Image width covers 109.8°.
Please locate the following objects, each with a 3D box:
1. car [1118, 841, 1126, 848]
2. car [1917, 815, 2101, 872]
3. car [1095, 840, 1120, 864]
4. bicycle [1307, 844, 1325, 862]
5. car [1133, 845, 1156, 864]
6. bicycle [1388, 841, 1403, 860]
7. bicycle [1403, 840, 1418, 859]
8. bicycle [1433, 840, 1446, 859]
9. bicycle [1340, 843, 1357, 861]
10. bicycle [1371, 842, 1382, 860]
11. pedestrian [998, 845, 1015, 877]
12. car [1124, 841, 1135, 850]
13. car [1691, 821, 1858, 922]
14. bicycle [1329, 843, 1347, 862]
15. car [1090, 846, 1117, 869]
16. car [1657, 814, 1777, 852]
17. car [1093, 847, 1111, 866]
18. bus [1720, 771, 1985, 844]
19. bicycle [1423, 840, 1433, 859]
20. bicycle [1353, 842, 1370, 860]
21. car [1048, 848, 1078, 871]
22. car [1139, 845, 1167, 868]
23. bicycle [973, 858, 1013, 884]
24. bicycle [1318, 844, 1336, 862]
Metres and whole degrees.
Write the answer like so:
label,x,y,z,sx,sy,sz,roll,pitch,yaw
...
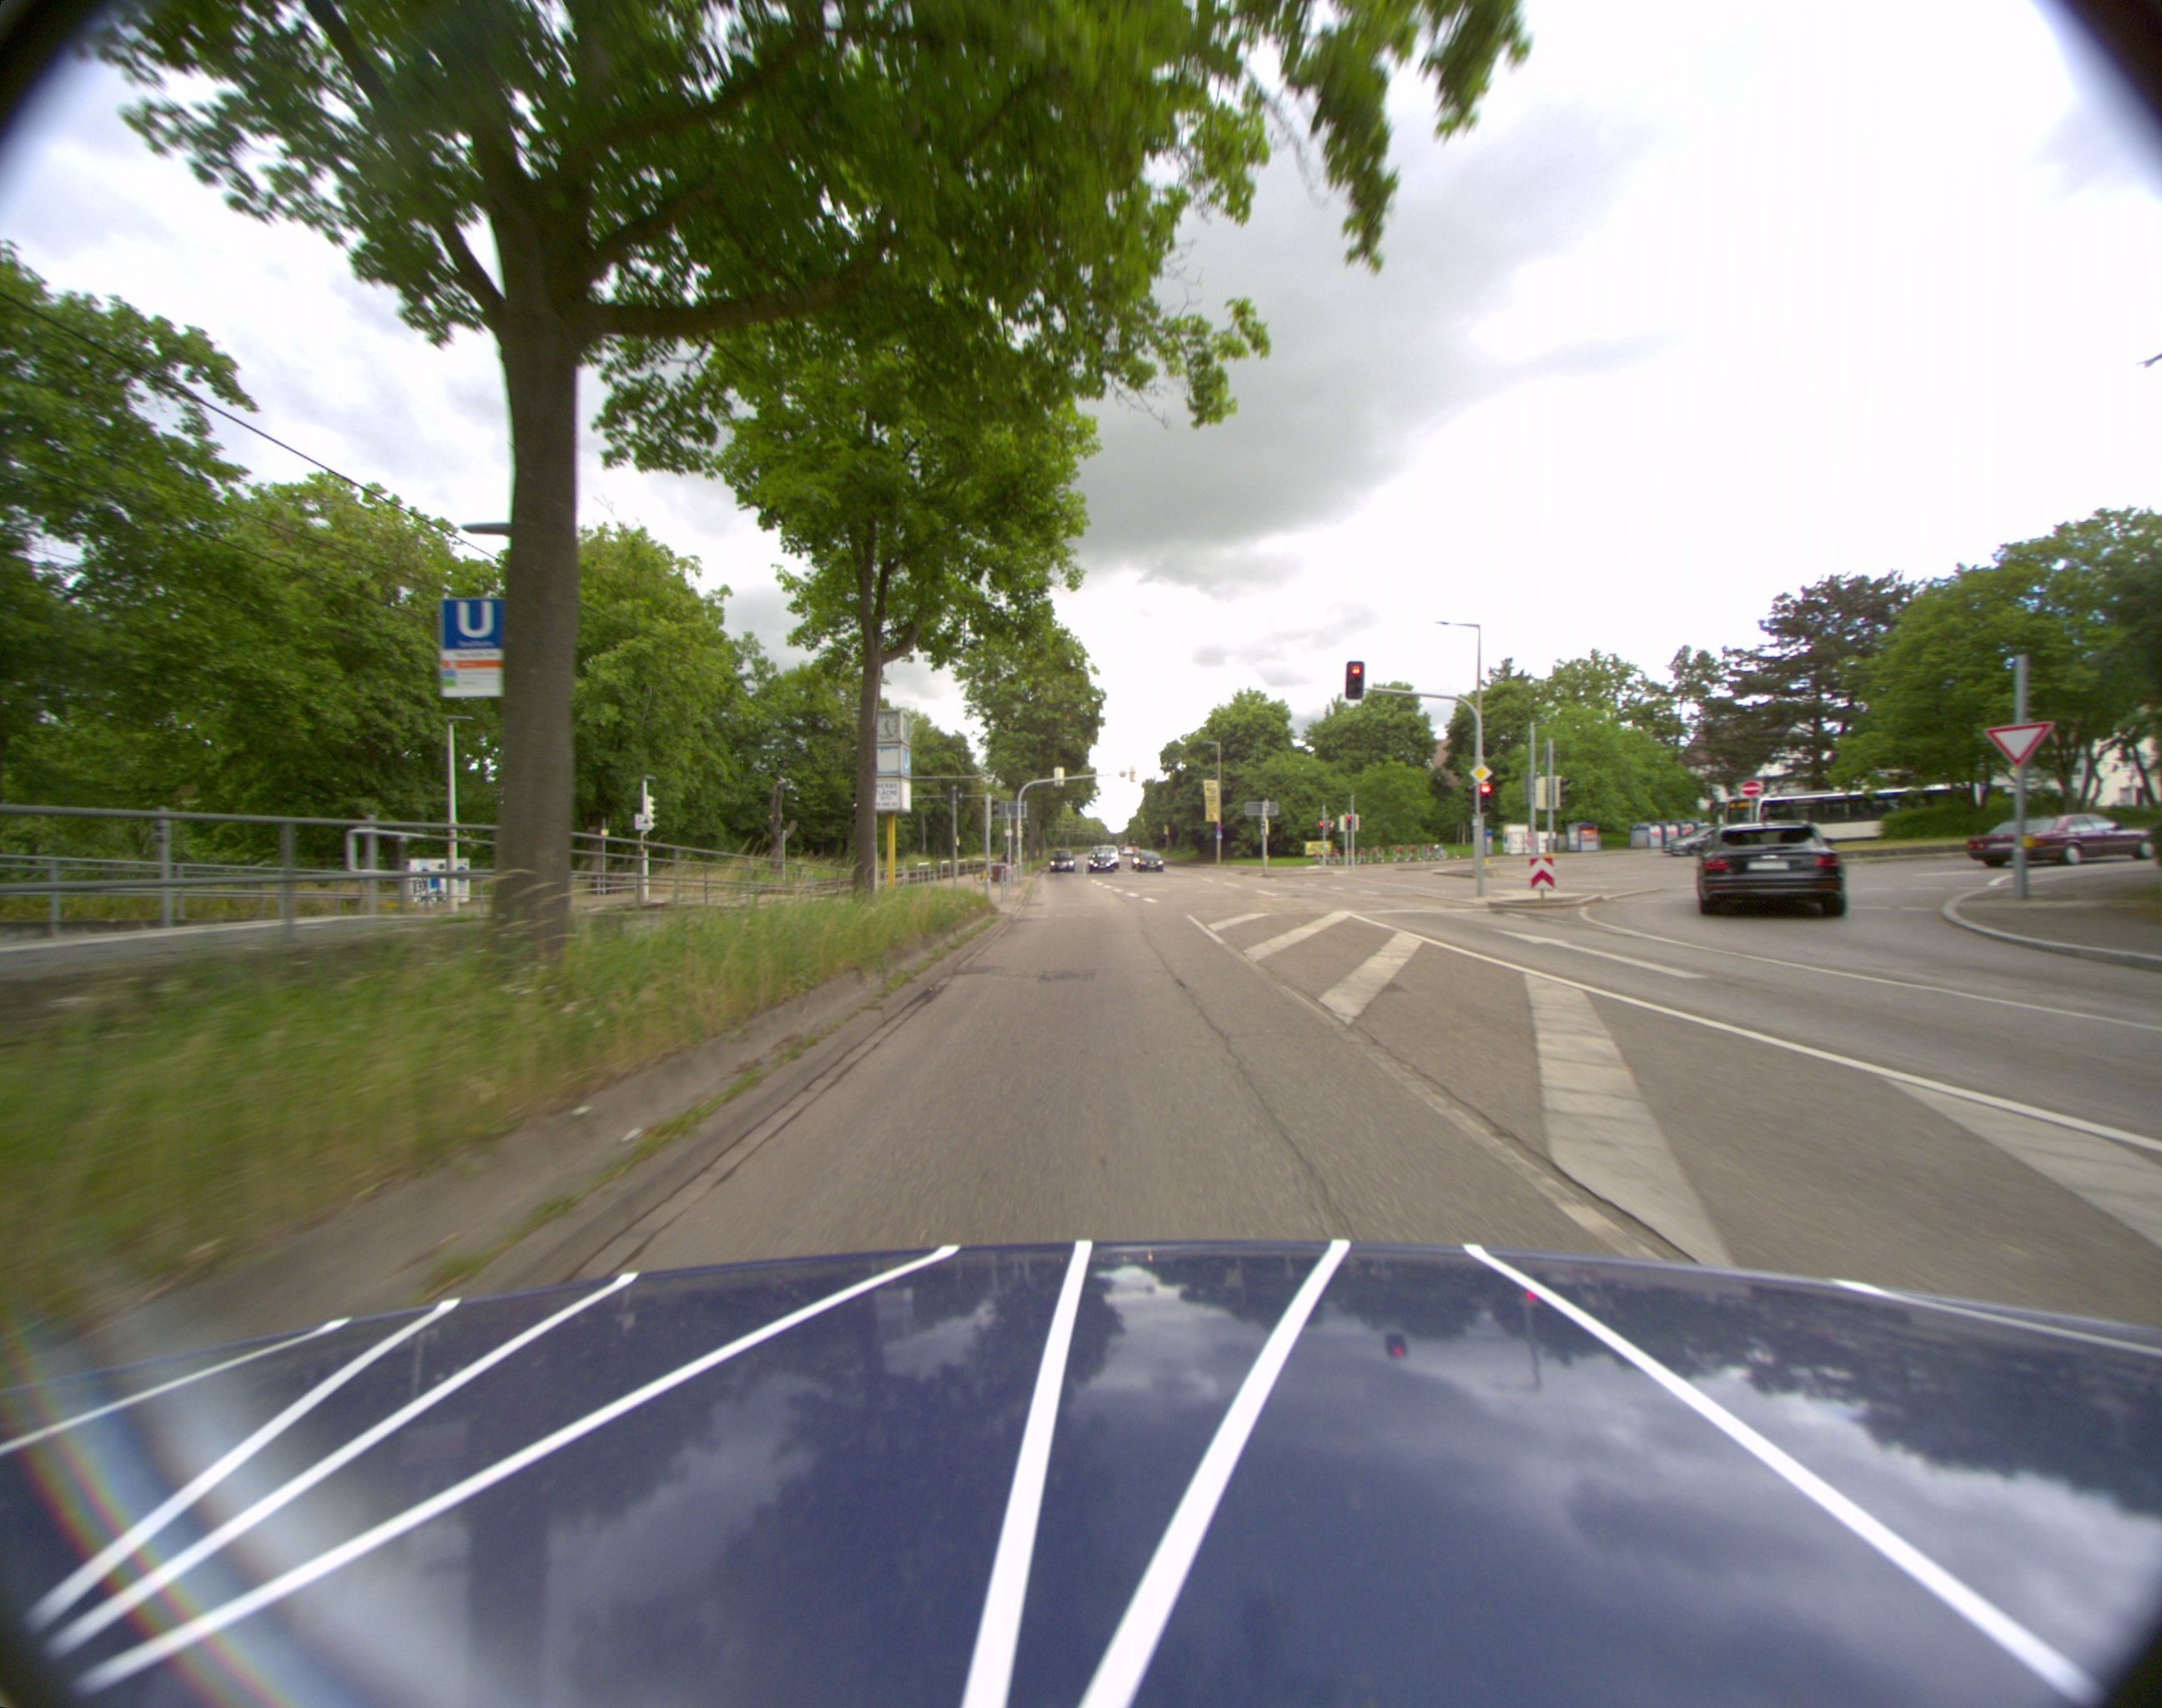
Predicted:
label,x,y,z,sx,sy,sz,roll,pitch,yaw
car,8.788,-2.051,162.591,1.743,1.530,3.910,-2,1,4
car,27.425,-0.326,22.492,4.344,1.456,1.745,-3,1,-14
car,2.113,-0.195,62.353,1.911,1.832,5.281,-1,1,1
bicycle,17.439,-0.074,56.298,0.544,1.245,1.939,-1,2,39
car,4.960,0.011,59.651,1.595,1.459,3.929,1,1,3
bicycle,22.198,-0.249,53.573,0.544,1.245,1.939,-1,2,34
bicycle,23.064,-0.332,53.199,0.544,1.245,1.939,-1,2,34
bicycle,24.807,-0.346,52.568,0.544,1.245,1.937,-2,1,18
bicycle,19.343,-0.157,54.975,0.544,1.245,1.939,-1,2,39
bicycle,21.046,-0.207,54.098,0.544,1.245,1.937,-2,1,18
pedestrian,-4.169,0.381,42.354,0.753,1.727,0.840,2,1,6
car,8.967,-1.553,139.389,1.743,1.530,3.911,-2,1,7
car,13.537,0.243,15.150,1.903,1.669,5.090,0,1,36
bicycle,18.789,-0.120,55.520,0.544,1.245,1.939,-1,2,39
car,1.505,0.240,51.852,1.708,1.472,3.666,-1,1,0
car,34.829,-1.132,41.740,4.740,1.842,2.000,-2,1,6
car,2.235,0.232,80.516,1.807,1.784,4.502,-2,1,1
bus,45.208,-2.678,44.778,12.337,3.145,2.679,-5,1,3
bicycle,24.145,-0.348,52.841,0.544,1.245,1.938,-2,1,24
bicycle,20.138,-0.237,54.503,0.544,1.245,1.939,-1,2,39
car,-1.268,0.384,54.977,1.807,1.520,3.929,-2,1,3
car,4.857,0.150,51.617,1.560,1.458,3.807,1,1,1
bicycle,-3.909,0.770,33.841,1.679,1.084,0.602,2,1,-3
bicycle,18.141,-0.099,55.955,0.544,1.245,1.939,-1,1,39
